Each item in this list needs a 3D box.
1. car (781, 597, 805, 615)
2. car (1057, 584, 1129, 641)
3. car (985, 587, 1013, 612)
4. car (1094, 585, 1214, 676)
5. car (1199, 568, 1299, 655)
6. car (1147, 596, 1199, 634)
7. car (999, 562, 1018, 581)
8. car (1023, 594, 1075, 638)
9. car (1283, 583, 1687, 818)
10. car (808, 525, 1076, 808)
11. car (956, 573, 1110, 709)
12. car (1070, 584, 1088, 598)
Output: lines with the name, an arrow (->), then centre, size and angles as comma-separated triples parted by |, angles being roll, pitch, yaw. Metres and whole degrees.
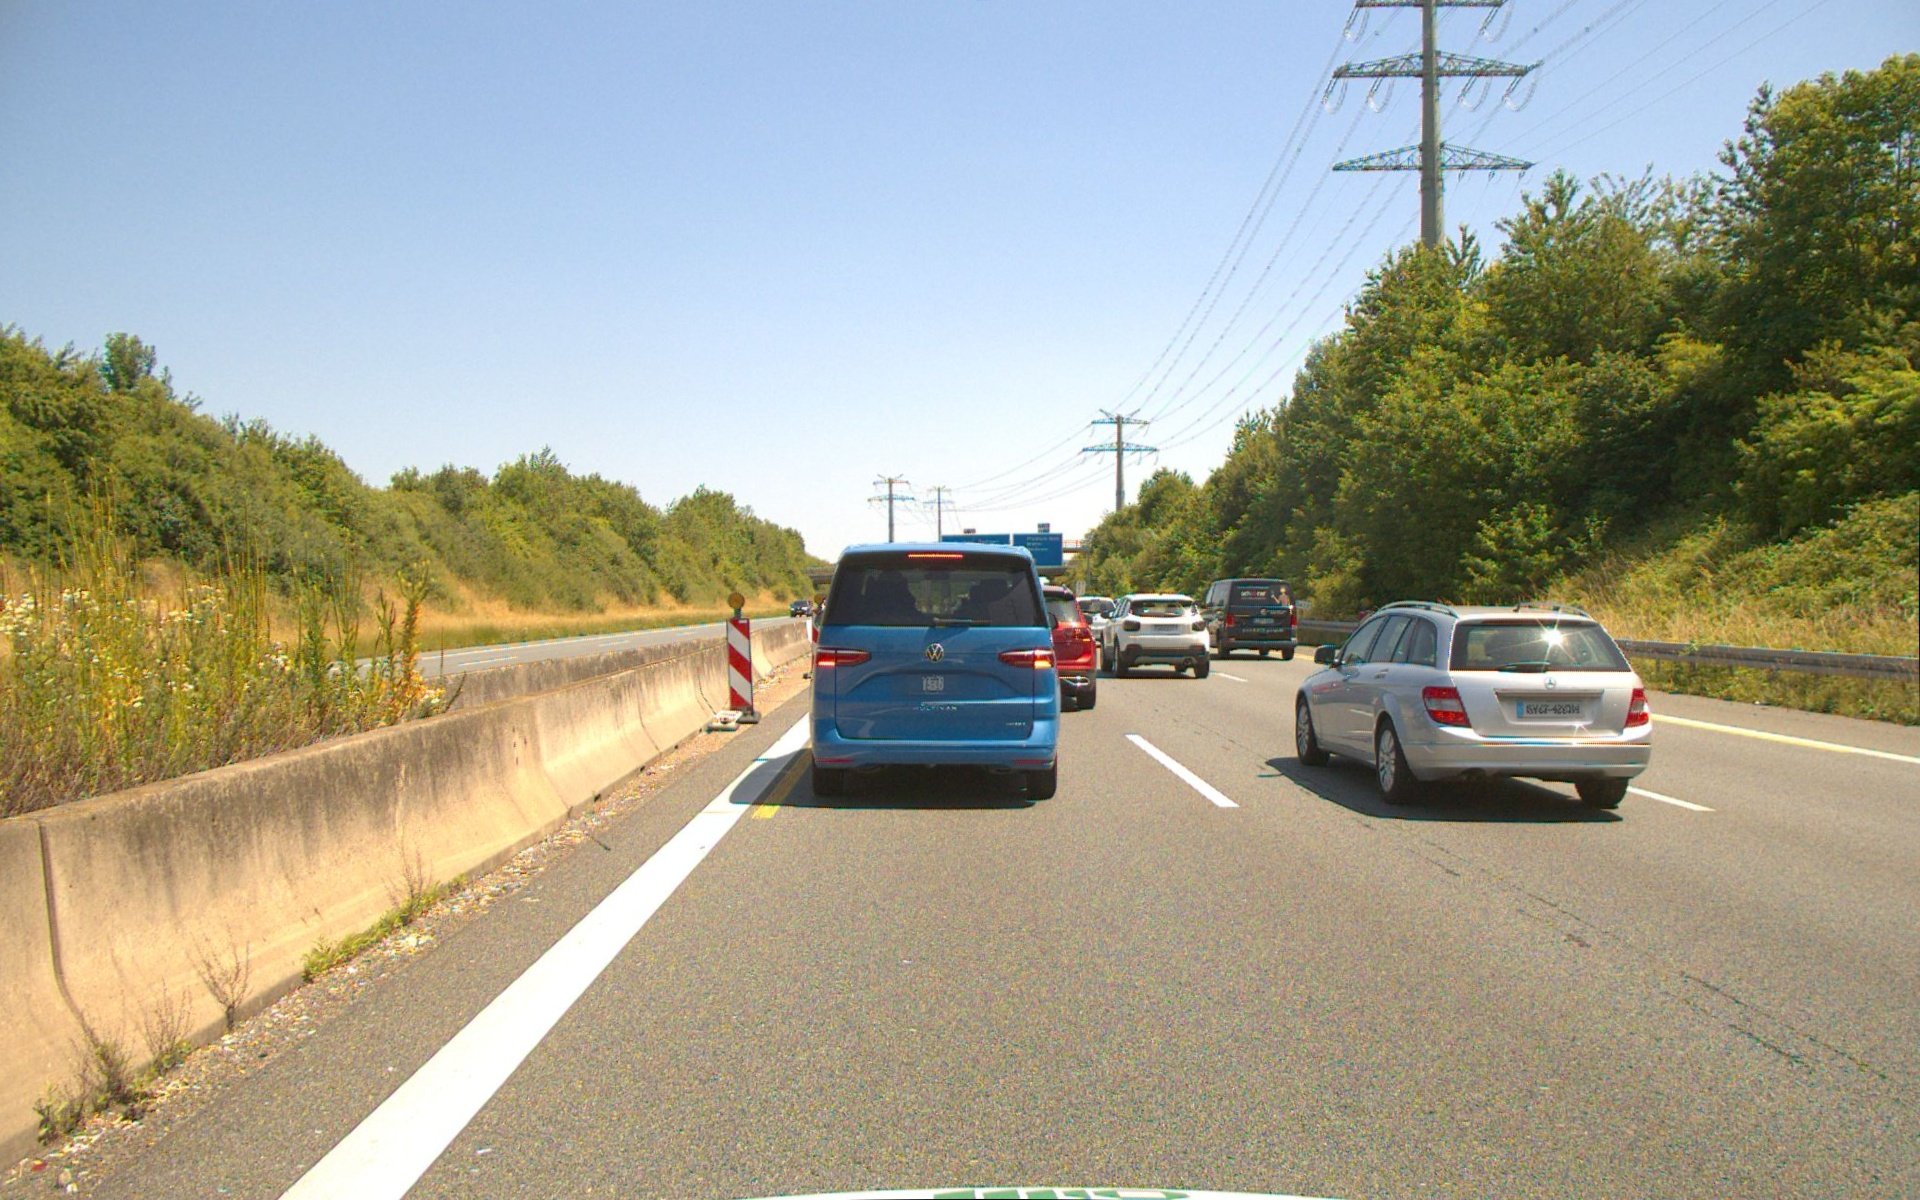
car -> -16.870, 0.602, 167.484 | 1.953, 1.678, 4.629 | -3, 0, -1
car -> 3.998, 0.366, 50.122 | 1.761, 1.622, 4.226 | 1, 0, -1
car -> 2.607, -0.044, 111.251 | 1.761, 1.622, 4.226 | 1, 0, -1
car -> 3.707, 0.563, 32.184 | 1.761, 1.622, 4.226 | 1, 0, -1
car -> 7.239, 0.277, 41.803 | 1.761, 2.049, 4.227 | 1, 0, 0
car -> 9.603, 0.672, 74.892 | 1.761, 1.622, 4.226 | 1, 0, -1
car -> 6.389, -3.803, 219.985 | 2.329, 2.470, 4.226 | 1, 0, -1
car -> 3.467, 0.606, 64.942 | 1.761, 1.622, 4.226 | 1, 0, -1
car -> 3.946, 0.676, 13.259 | 1.735, 1.544, 4.358 | 1, 0, -2
car -> -0.183, 0.466, 13.723 | 1.837, 1.945, 4.358 | 1, 0, -2
car -> 0.932, 0.527, 23.381 | 1.837, 1.700, 4.358 | 1, 0, -2
car -> 15.064, -1.120, 209.662 | 1.837, 1.700, 4.358 | 1, 0, -2
